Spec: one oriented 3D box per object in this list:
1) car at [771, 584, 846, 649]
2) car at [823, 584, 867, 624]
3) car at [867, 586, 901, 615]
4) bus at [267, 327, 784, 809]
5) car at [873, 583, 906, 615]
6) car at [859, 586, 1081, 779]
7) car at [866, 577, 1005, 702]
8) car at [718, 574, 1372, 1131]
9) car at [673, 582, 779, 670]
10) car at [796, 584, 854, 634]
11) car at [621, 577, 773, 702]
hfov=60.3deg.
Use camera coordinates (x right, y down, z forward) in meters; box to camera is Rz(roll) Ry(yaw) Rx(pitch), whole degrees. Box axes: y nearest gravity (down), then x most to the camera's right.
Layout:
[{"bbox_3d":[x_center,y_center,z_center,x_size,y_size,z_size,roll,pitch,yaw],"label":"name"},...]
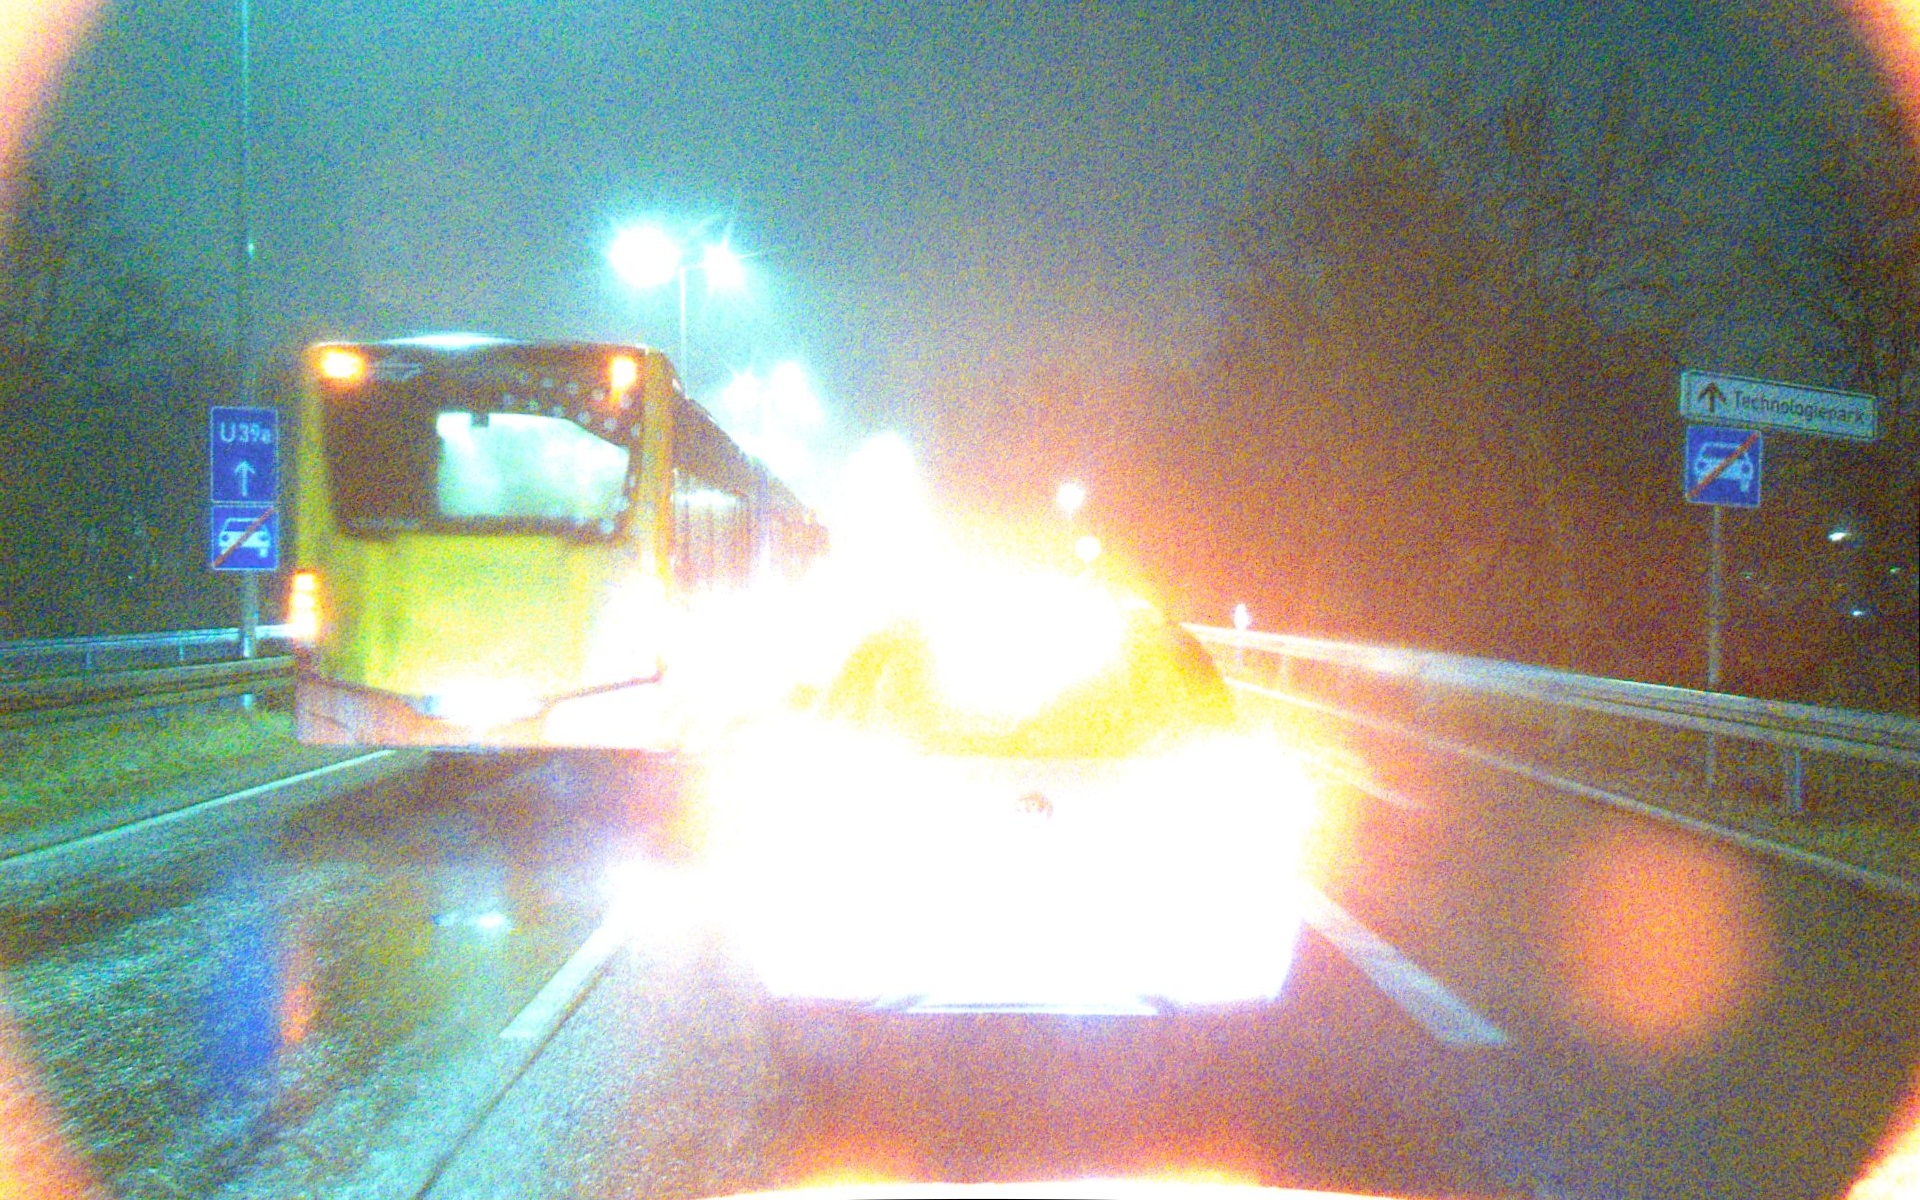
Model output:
[{"bbox_3d":[-3.811,0.382,42.156,1.744,1.570,3.872,1,0,-3],"label":"car"},{"bbox_3d":[-4.705,0.156,67.608,1.744,1.570,3.871,1,0,-4],"label":"car"},{"bbox_3d":[-4.140,0.020,91.013,1.743,1.570,3.874,1,0,-1],"label":"car"},{"bbox_3d":[-3.241,-0.228,14.966,2.759,3.077,8.682,0,0,-3],"label":"bus"},{"bbox_3d":[-4.518,-0.070,106.464,1.953,2.049,3.999,1,0,-1],"label":"car"},{"bbox_3d":[-0.029,0.620,15.107,1.697,1.474,4.722,1,0,-3],"label":"car"},{"bbox_3d":[-0.417,0.502,23.189,1.705,1.592,3.773,1,0,-4],"label":"car"},{"bbox_3d":[0.300,0.673,6.822,1.784,1.510,4.569,0,0,2],"label":"car"},{"bbox_3d":[-4.414,0.451,31.686,1.744,1.570,3.871,1,0,-4],"label":"car"},{"bbox_3d":[-4.339,0.272,53.739,1.744,1.570,3.873,1,0,-3],"label":"car"},{"bbox_3d":[-3.562,0.488,22.991,1.744,1.570,3.871,1,0,-4],"label":"car"}]
